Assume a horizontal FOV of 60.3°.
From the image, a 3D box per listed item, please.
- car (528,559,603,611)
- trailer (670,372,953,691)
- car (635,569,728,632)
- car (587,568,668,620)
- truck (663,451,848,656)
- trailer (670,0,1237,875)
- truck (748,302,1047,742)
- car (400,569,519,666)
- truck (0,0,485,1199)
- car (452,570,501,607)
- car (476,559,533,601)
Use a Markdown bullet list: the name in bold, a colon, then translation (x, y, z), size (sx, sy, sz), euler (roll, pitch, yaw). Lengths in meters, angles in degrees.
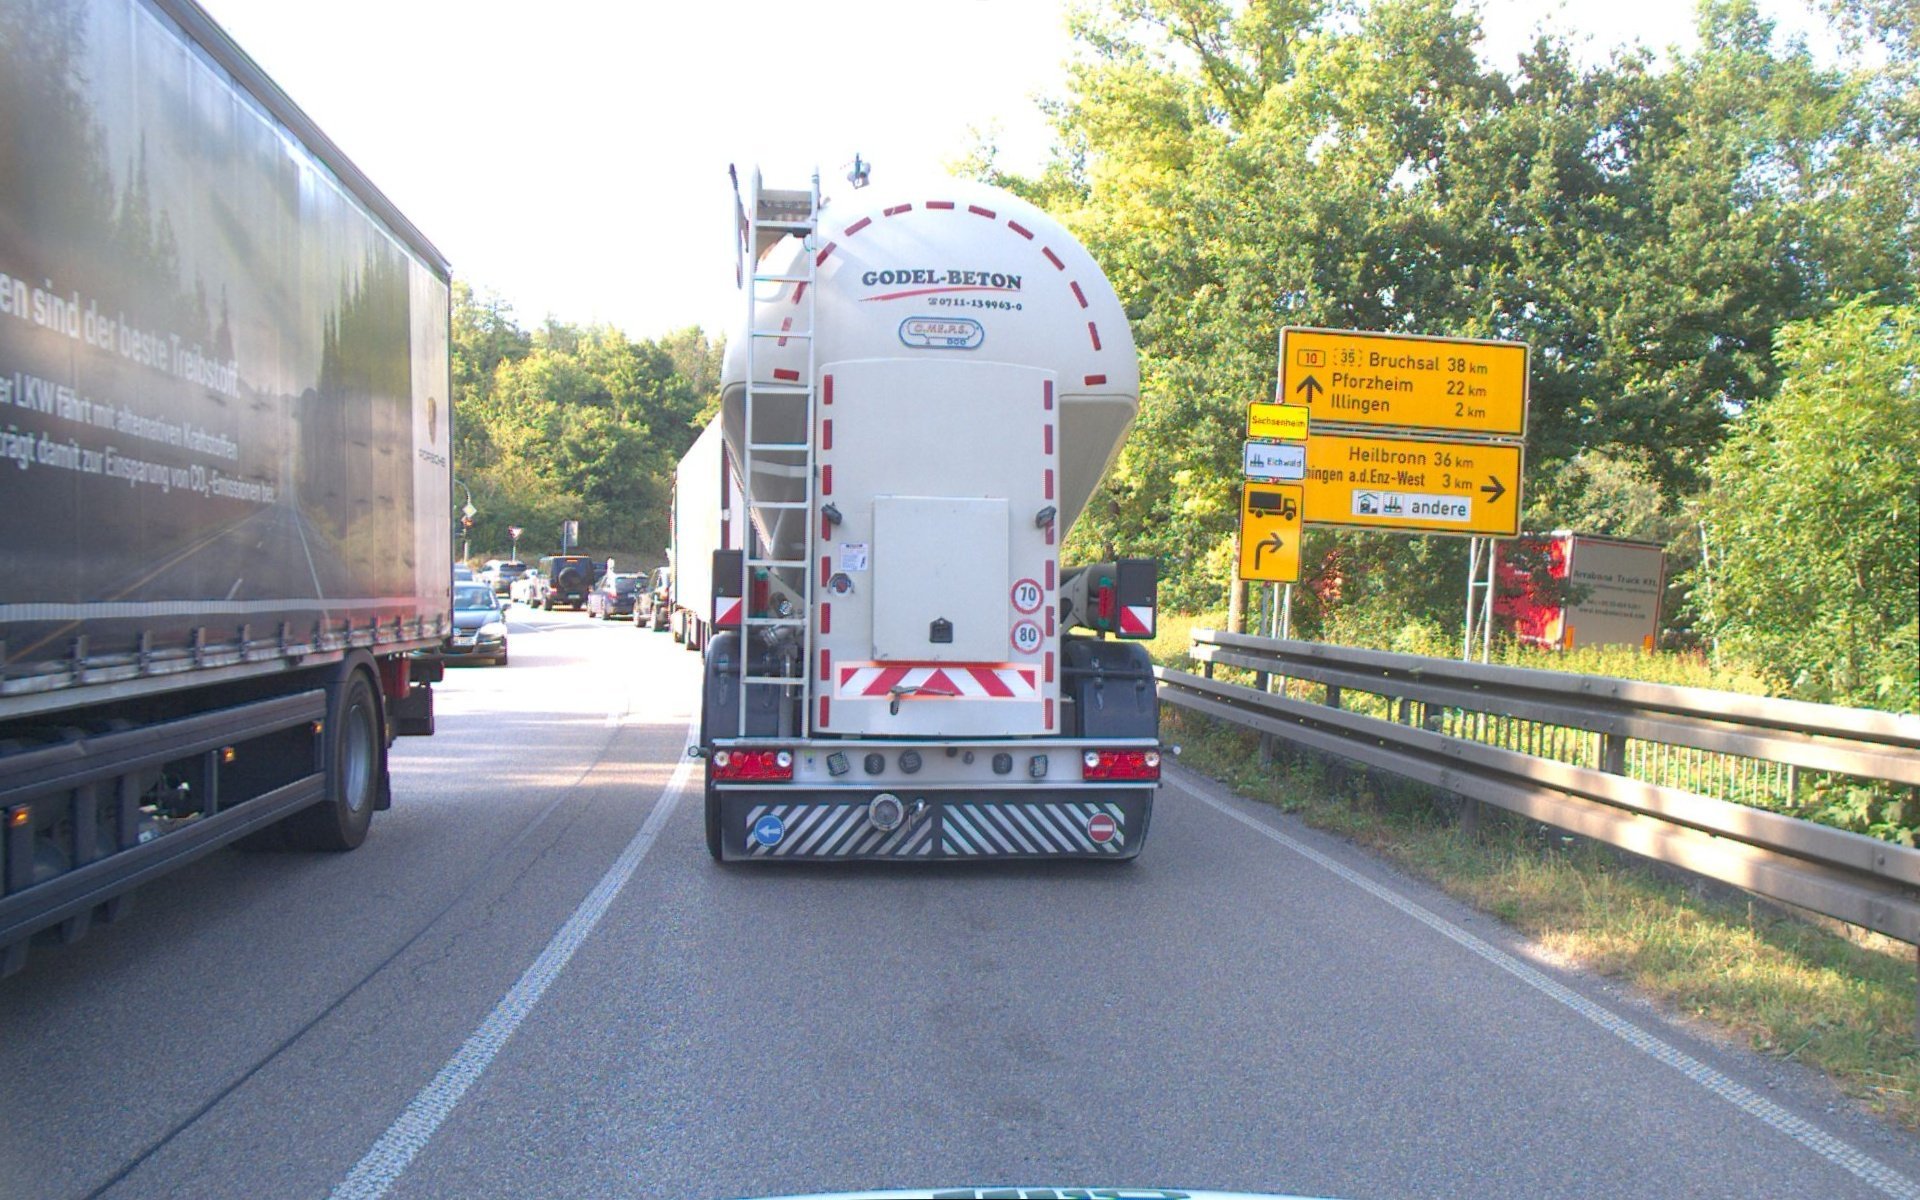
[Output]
- **car**: translation (-14.837, -0.598, 62.068), size (1.933, 1.883, 3.966), euler (-1, 1, -26)
- **trailer**: translation (-3.267, -1.018, 30.853), size (3.484, 4.592, 12.942), euler (2, 0, -13)
- **car**: translation (-7.724, -0.034, 45.616), size (1.840, 1.656, 3.977), euler (0, 1, -20)
- **car**: translation (-10.791, -0.218, 53.451), size (1.842, 1.592, 3.972), euler (0, 1, -23)
- **truck**: translation (-4.805, -1.013, 37.631), size (3.391, 4.157, 6.469), euler (2, 1, -13)
- **trailer**: translation (-0.403, -0.881, 13.226), size (2.830, 4.532, 9.596), euler (1, 0, -5)
- **truck**: translation (-0.940, -0.728, 18.570), size (2.771, 4.105, 5.885), euler (1, 0, -7)
- **car**: translation (-9.075, 0.281, 30.273), size (1.836, 1.584, 3.985), euler (3, 0, -14)
- **truck**: translation (-4.456, -0.678, 7.223), size (2.955, 4.665, 10.225), euler (0, 0, -7)
- **car**: translation (-24.162, -0.601, 82.613), size (1.639, 1.734, 3.966), euler (3, 0, -27)
- **car**: translation (-20.674, -0.931, 74.992), size (1.844, 1.883, 3.968), euler (-1, 1, -26)
